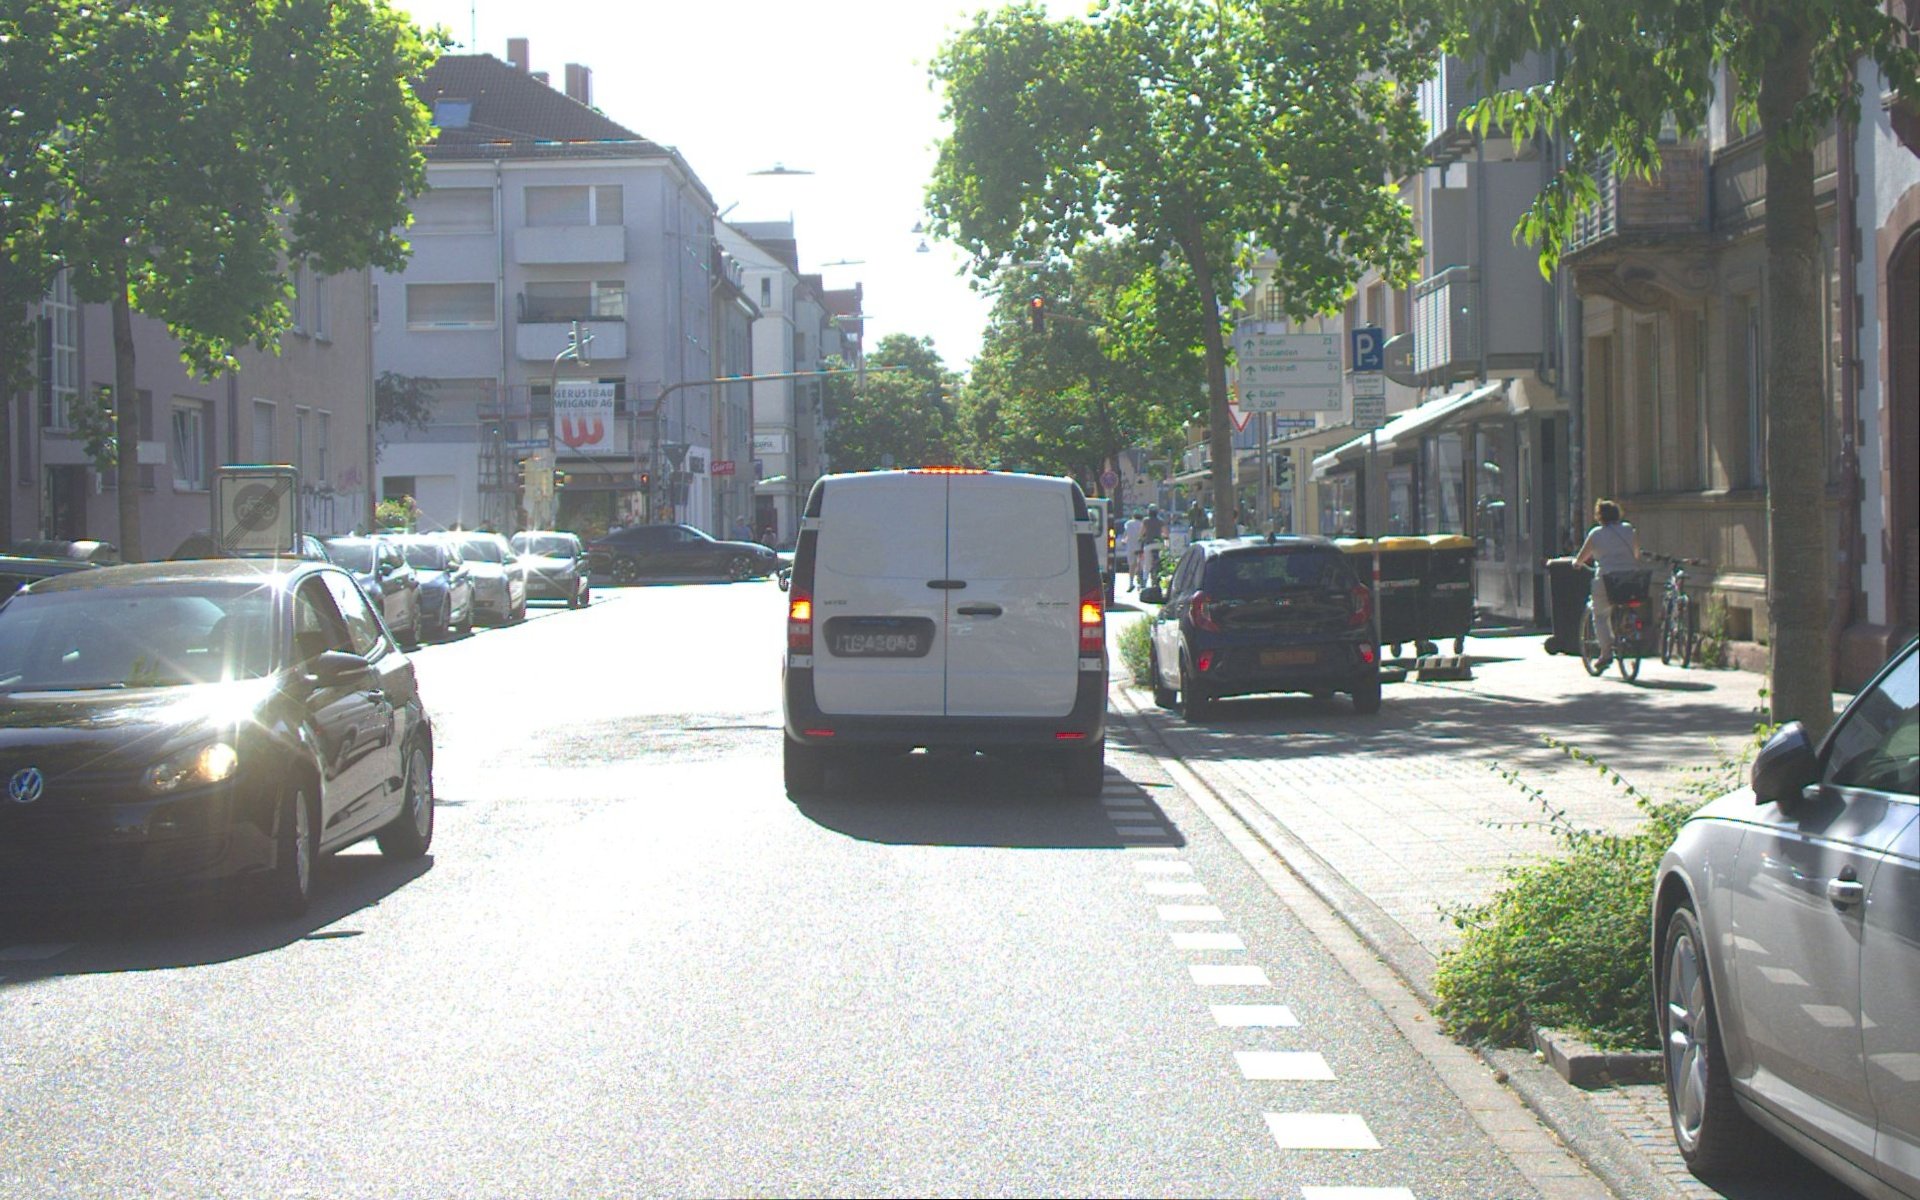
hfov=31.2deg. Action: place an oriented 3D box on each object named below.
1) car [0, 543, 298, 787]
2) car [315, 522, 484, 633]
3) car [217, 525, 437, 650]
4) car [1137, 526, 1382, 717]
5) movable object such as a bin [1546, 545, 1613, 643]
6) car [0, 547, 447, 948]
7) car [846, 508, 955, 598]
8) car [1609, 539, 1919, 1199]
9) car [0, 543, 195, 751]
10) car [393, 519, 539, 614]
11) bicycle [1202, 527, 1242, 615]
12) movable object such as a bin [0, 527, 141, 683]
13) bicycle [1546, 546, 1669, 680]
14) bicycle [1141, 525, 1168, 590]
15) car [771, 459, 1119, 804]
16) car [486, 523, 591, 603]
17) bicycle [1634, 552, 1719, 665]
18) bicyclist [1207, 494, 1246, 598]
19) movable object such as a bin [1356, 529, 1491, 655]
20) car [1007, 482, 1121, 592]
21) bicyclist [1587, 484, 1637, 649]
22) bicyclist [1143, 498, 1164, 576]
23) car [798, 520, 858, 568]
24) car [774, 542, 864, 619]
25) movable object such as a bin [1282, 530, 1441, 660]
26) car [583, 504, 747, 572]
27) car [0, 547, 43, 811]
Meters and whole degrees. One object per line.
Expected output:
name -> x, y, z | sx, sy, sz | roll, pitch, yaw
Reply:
car -> -6.569, 0.370, 21.939 | 4.305, 1.455, 1.762 | 1, 1, 2
car -> -8.220, -0.368, 50.780 | 1.721, 1.491, 4.626 | 2, 2, 0
car -> -8.352, -0.203, 45.700 | 1.993, 1.491, 4.228 | 2, 2, 2
car -> 2.489, 0.135, 29.273 | 1.635, 1.470, 3.581 | -2, 1, -2
movable object such as a bin -> 6.641, -0.068, 36.862 | 0.598, 1.038, 0.546 | -1, 1, -1
car -> -3.412, 0.533, 14.798 | 1.763, 1.433, 3.960 | -2, 1, 0
car -> -1.067, -0.864, 61.114 | 1.844, 1.502, 4.001 | -1, 2, -1
car -> 2.489, 0.629, 6.154 | 1.738, 1.446, 4.308 | -2, 2, -1
car -> -7.846, 0.312, 24.746 | 4.305, 1.428, 1.644 | 0, 1, 0
car -> -8.156, -0.592, 57.114 | 1.776, 1.464, 4.760 | 2, 1, -1
bicycle -> 3.849, -0.430, 50.584 | 0.475, 1.270, 1.218 | 0, 1, -1
movable object such as a bin -> -8.612, 0.038, 32.771 | 1.231, 1.445, 1.075 | -1, 1, 8
bicycle -> 5.840, 0.100, 31.101 | 0.536, 1.145, 2.124 | -3, 1, -4
bicycle -> 3.921, -0.864, 69.355 | 0.416, 1.305, 1.335 | 0, 1, -2
car -> -0.194, 0.104, 21.480 | 1.920, 1.907, 4.889 | 0, 2, -3
car -> -8.222, -0.751, 67.307 | 1.653, 1.474, 4.001 | 1, 1, -1
bicycle -> 6.909, 0.071, 33.190 | 0.432, 1.027, 1.428 | -4, 1, -1
bicyclist -> 3.913, -0.793, 50.539 | 0.439, 1.503, 0.497 | 3, 1, 0
movable object such as a bin -> 5.128, -0.102, 37.994 | 1.040, 1.343, 1.106 | 0, 2, 39
car -> 1.870, -1.172, 63.111 | 1.815, 1.914, 4.645 | -1, 2, -1
bicyclist -> 5.850, -0.306, 30.855 | 0.361, 1.472, 0.530 | 0, 1, 2
bicyclist -> 3.909, -1.266, 69.396 | 0.355, 1.570, 0.482 | 0, 1, -3
car -> -3.875, -1.666, 101.112 | 1.618, 1.393, 3.731 | 0, 1, 0
car -> -3.164, -0.470, 78.065 | 1.867, 1.608, 4.428 | -1, 1, -1
movable object such as a bin -> 4.304, -0.061, 36.890 | 1.268, 1.343, 1.108 | -3, 2, -42
car -> -7.289, -1.543, 85.215 | 3.986, 1.634, 2.000 | -1, 1, -3
car -> -7.340, 0.444, 19.191 | 3.986, 1.458, 1.813 | 0, 1, -3
